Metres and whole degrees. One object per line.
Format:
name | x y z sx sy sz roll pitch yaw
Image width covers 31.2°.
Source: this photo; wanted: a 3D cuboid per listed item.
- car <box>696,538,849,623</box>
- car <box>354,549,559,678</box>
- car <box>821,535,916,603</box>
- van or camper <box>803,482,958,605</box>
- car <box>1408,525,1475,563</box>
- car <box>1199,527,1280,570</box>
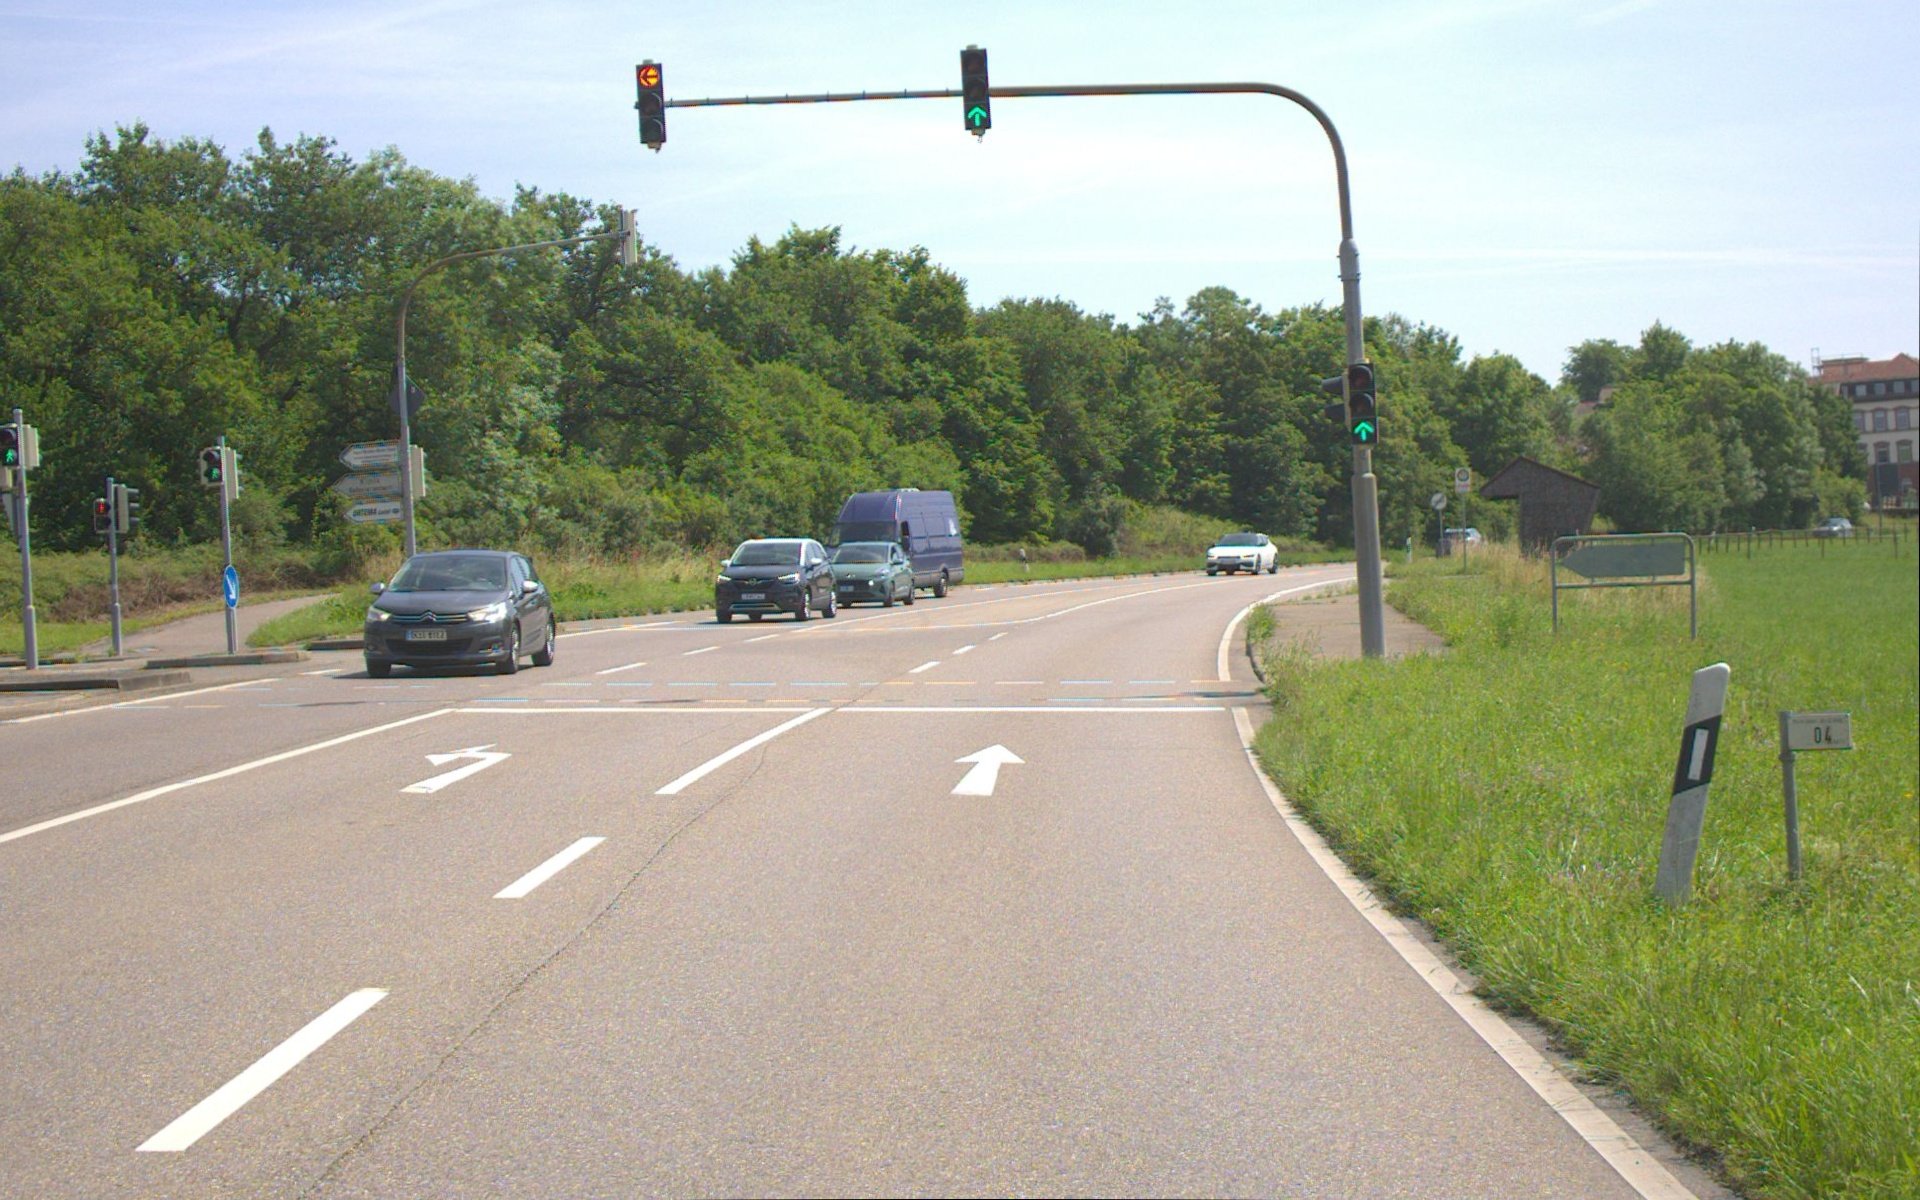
car | -3.538 -0.394 65.665 1.975 1.557 4.187 -1 1 10
car | -6.074 0.126 41.904 1.791 1.469 4.311 -1 1 1
car | -2.071 -0.713 78.449 1.707 1.478 3.832 -1 1 5
van or camper | -1.940 -1.498 87.374 2.241 2.904 7.244 -1 2 12
car | 20.721 -2.433 147.733 1.995 1.568 3.996 -1 1 21
car | 10.329 -1.917 126.915 1.939 1.543 4.624 -1 1 18
